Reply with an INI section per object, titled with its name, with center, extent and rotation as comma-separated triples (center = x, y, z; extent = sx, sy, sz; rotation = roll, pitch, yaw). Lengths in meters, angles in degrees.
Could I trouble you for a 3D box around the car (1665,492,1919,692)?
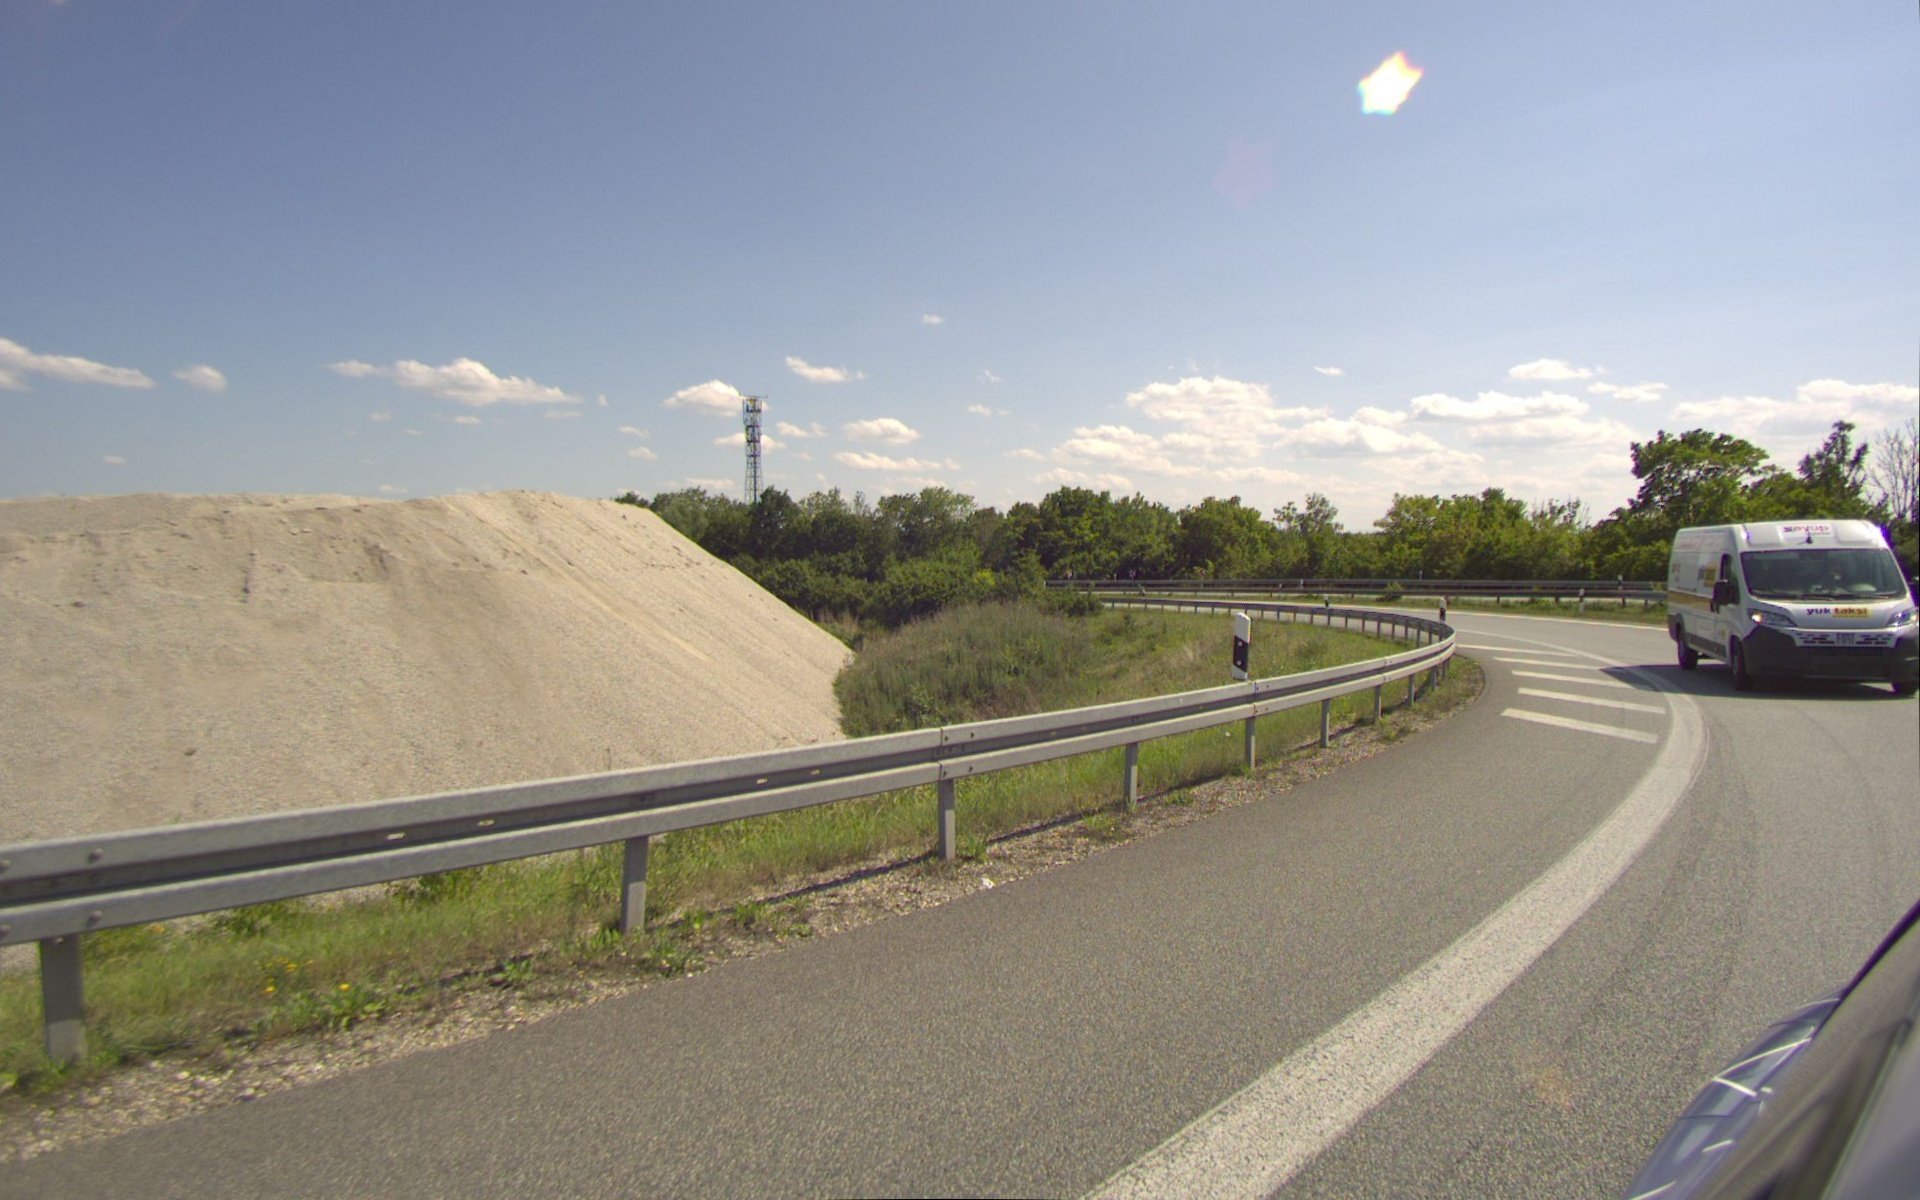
[car]
center = 13.084, -0.219, 16.119
extent = 2.068, 2.555, 6.181
rotation = -4, 1, 27
